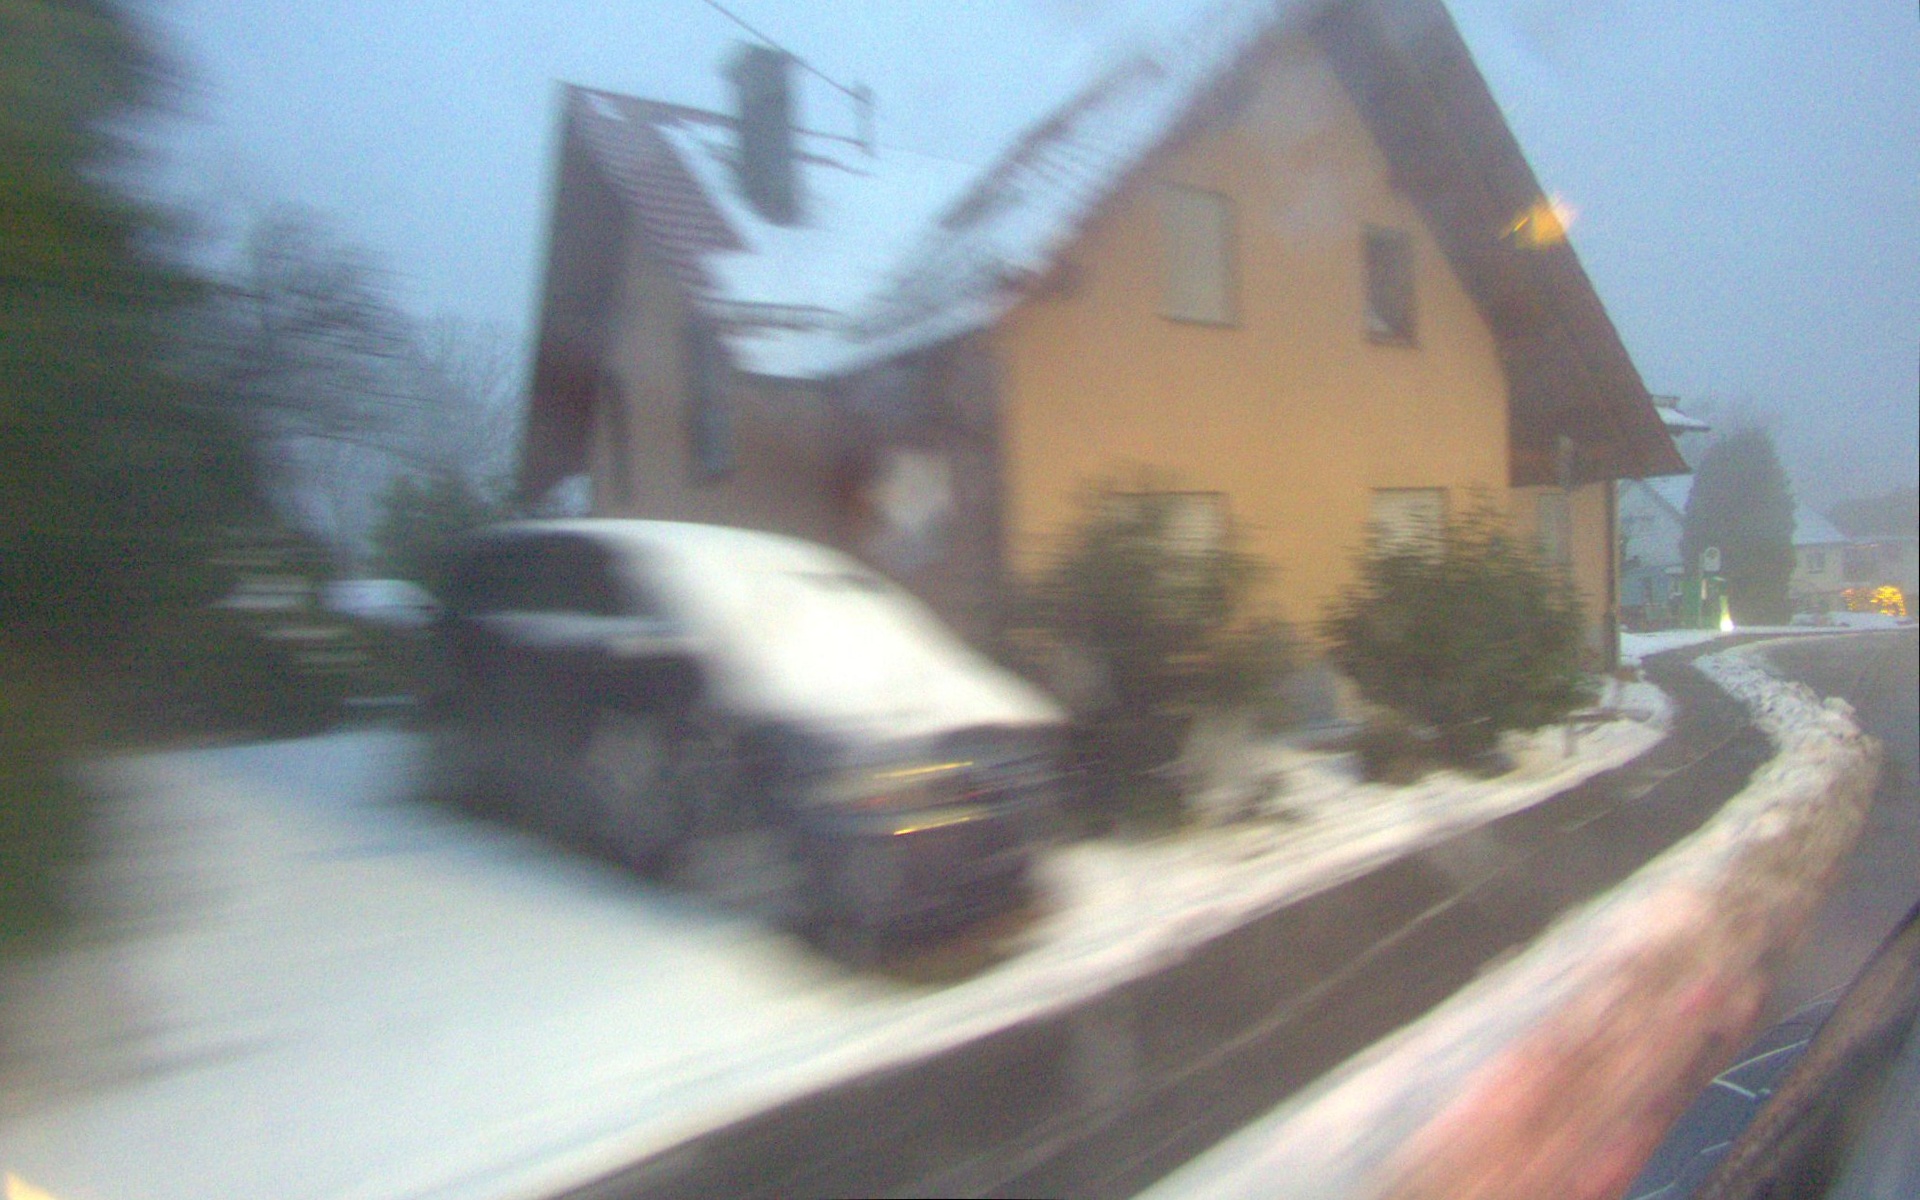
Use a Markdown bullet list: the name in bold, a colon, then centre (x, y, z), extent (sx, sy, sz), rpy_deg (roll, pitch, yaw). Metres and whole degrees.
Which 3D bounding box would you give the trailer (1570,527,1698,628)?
- **trailer**: centre (25.807, -0.881, 38.719), extent (4.974, 3.604, 2.880), rpy_deg (-2, 2, -41)

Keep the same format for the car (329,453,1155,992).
- **car**: centre (-1.266, 0.176, 5.075), extent (3.977, 1.709, 1.822), rpy_deg (6, 7, 35)

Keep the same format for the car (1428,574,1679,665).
- **car**: centre (12.438, 0.307, 21.470), extent (1.910, 1.578, 4.173), rpy_deg (-2, 4, -36)

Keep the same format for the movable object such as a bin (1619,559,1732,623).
- **movable object such as a bin**: centre (29.372, -0.416, 41.524), extent (4.430, 2.499, 2.395), rpy_deg (-2, 2, -35)
